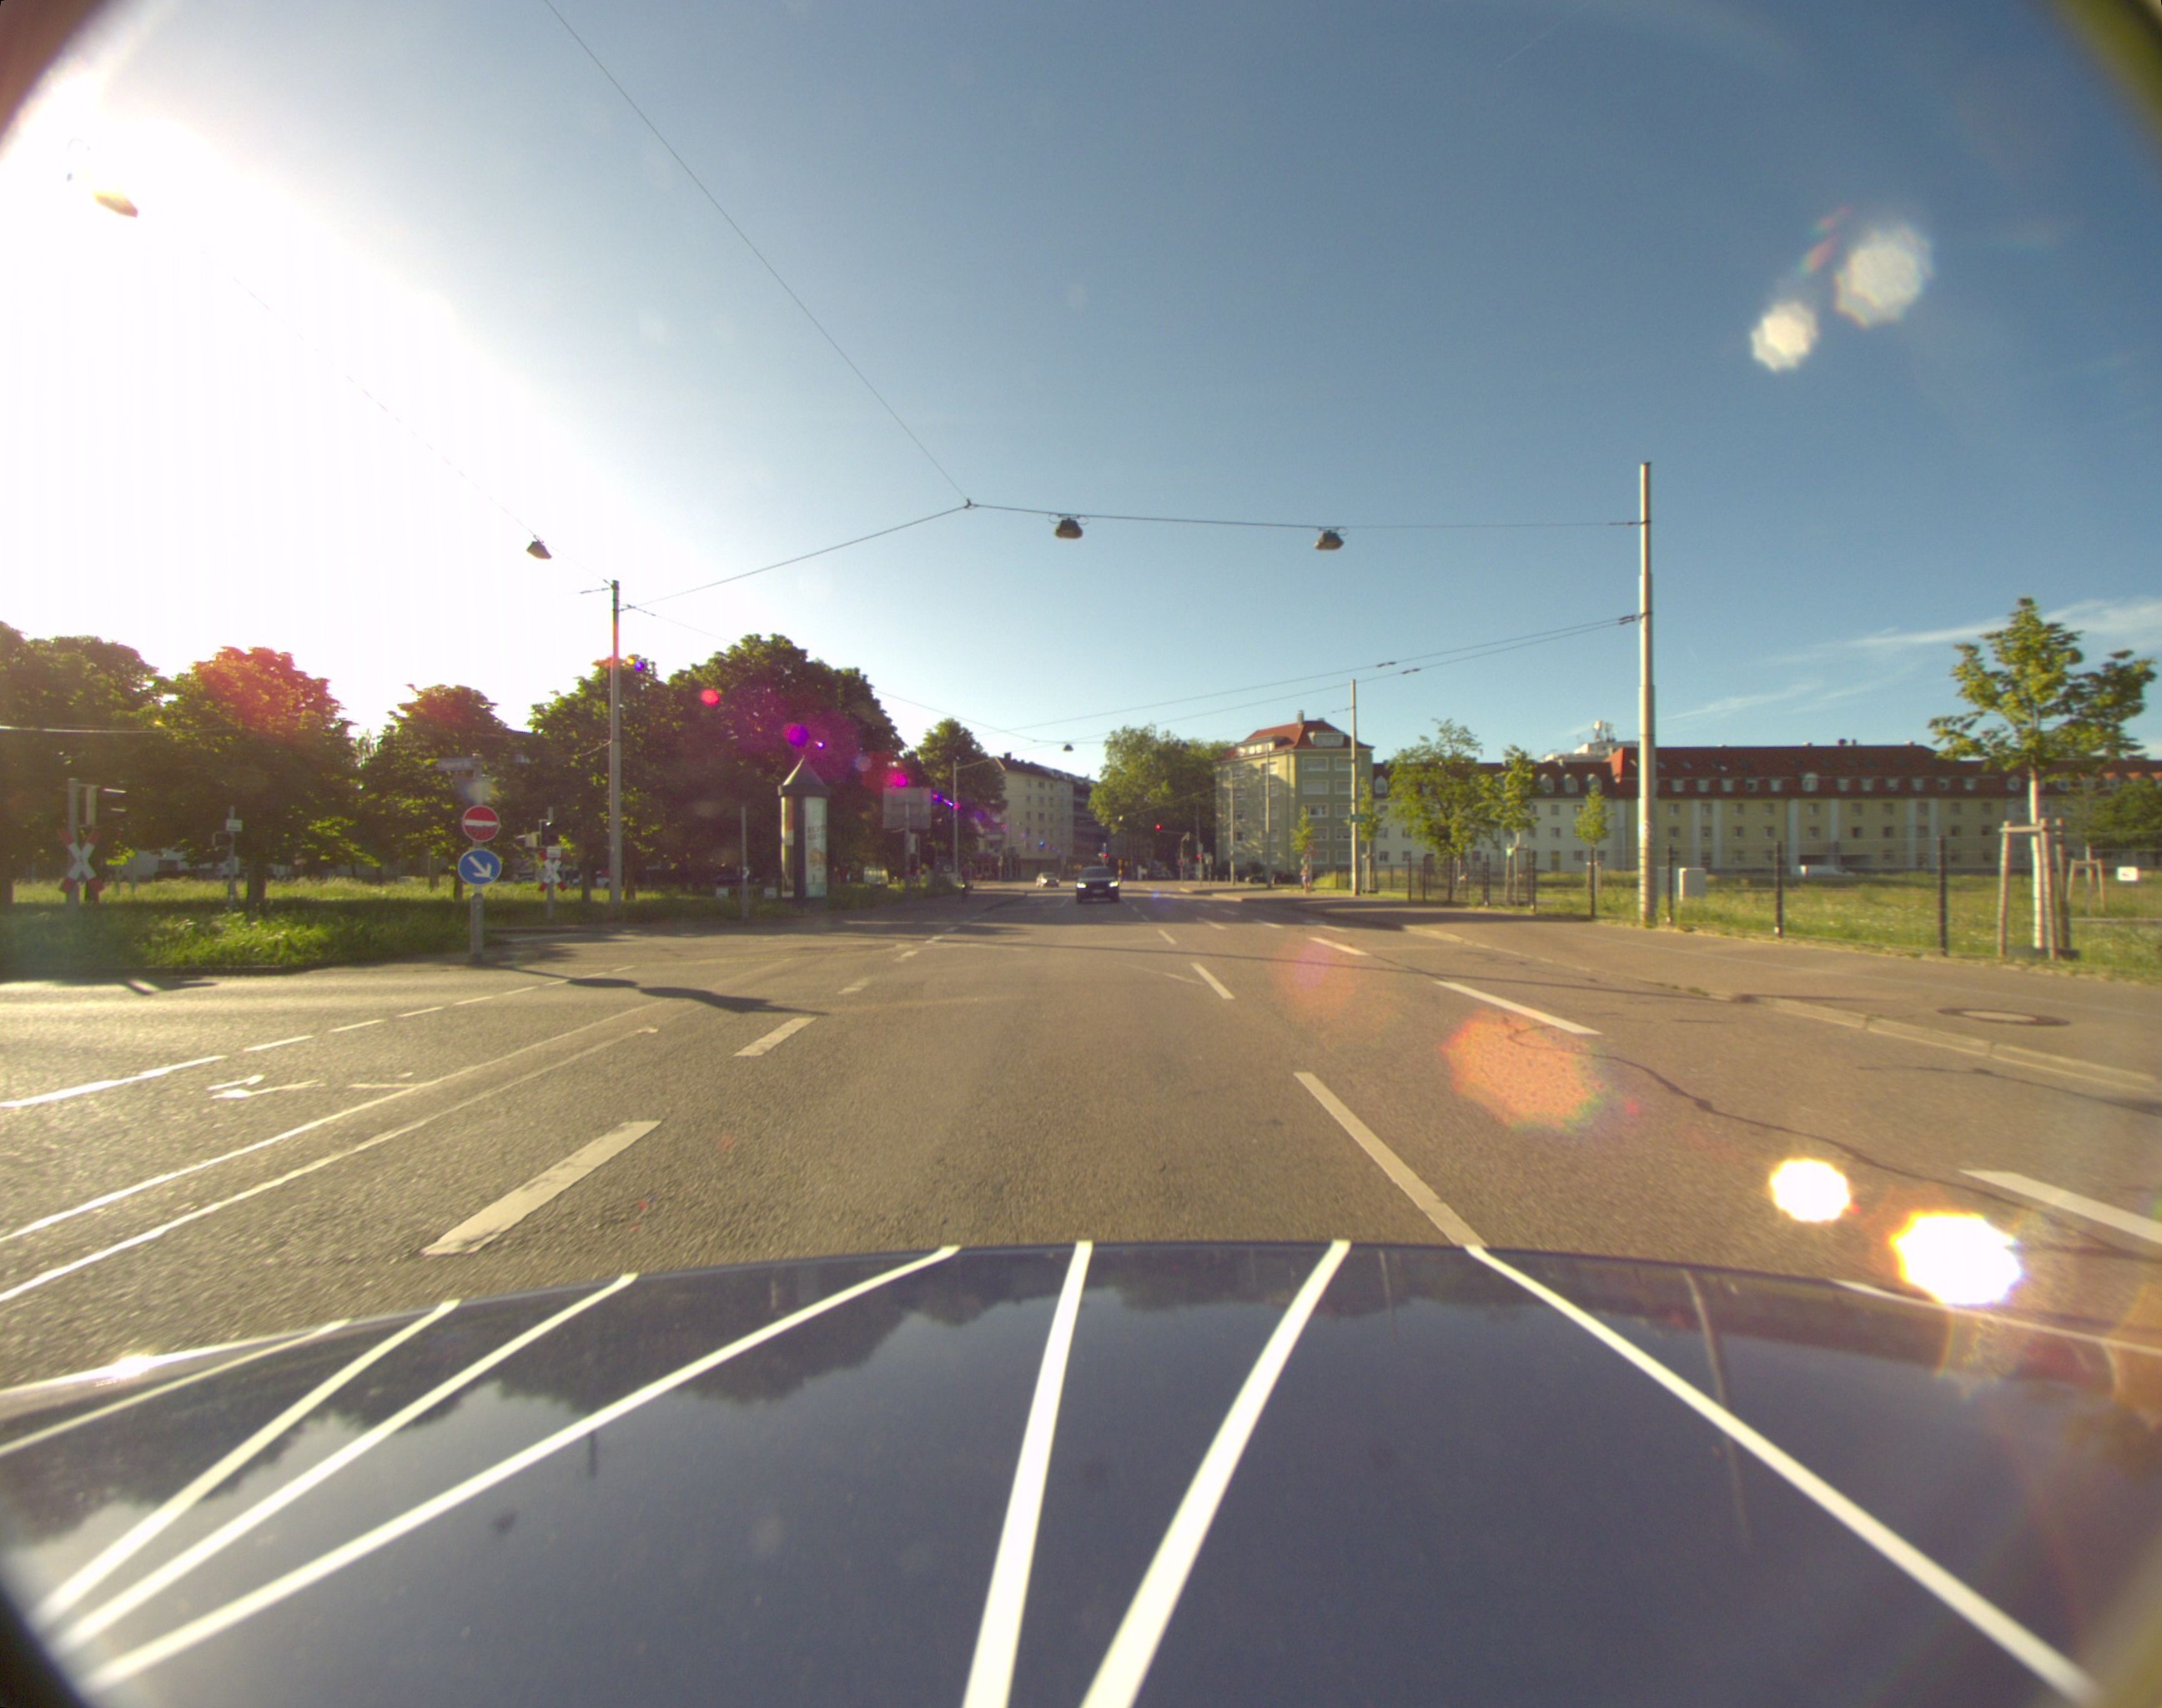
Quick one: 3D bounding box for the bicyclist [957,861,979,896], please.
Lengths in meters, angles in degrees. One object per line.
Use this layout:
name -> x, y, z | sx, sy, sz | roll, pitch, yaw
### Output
bicyclist -> -5.260, 1.140, 35.430 | 0.813, 1.590, 1.149 | 0, -1, 1

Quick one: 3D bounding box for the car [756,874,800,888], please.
car -> -34.902, 3.122, 87.465 | 4.194, 1.337, 1.994 | -3, 1, -45

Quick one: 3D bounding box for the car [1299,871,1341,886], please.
car -> 25.208, 2.628, 80.256 | 3.900, 1.520, 1.701 | 0, -4, -2

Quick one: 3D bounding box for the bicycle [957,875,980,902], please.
bicycle -> -5.233, 1.583, 35.357 | 0.720, 1.185, 2.001 | 0, -1, 1

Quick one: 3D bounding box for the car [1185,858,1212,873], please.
car -> 21.502, 2.140, 138.931 | 4.411, 2.611, 1.972 | -2, 1, 22

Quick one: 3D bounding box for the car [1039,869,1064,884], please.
car -> -2.961, 2.261, 76.045 | 1.704, 1.432, 3.642 | -1, -2, -16

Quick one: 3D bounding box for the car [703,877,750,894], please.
car -> -39.361, 3.467, 84.352 | 4.194, 1.707, 1.994 | -3, 1, -45

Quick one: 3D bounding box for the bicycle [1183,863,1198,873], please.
bicycle -> 15.673, 2.021, 109.072 | 2.047, 1.454, 0.727 | 1, 3, 30

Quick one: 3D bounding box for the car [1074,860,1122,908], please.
car -> 0.698, 1.309, 35.103 | 1.941, 1.922, 4.523 | -2, 0, -1

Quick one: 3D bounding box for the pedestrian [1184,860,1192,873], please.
pedestrian -> 15.561, 1.817, 110.588 | 0.695, 1.952, 0.929 | -2, 1, 31

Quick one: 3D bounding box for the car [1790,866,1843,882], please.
car -> 76.583, 2.110, 79.129 | 3.900, 1.520, 1.701 | 0, -4, -2

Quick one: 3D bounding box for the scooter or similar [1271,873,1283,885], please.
scooter or similar -> 19.509, 2.499, 75.671 | 0.594, 1.137, 1.270 | 0, -5, 42

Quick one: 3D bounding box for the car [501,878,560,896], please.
car -> -52.983, 3.127, 73.158 | 4.386, 1.419, 1.687 | -3, 1, -44

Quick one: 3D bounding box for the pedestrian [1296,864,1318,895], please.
pedestrian -> 12.053, 1.347, 40.590 | 0.834, 1.619, 1.181 | -2, -1, 4

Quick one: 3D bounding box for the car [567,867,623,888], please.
car -> -48.961, 2.347, 76.568 | 4.341, 1.953, 1.905 | -3, 1, -44

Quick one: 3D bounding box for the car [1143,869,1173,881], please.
car -> 11.728, 3.223, 115.774 | 4.140, 1.631, 1.777 | -2, 1, 22

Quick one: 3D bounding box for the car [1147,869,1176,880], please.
car -> 12.488, 3.191, 117.768 | 4.140, 1.631, 1.777 | -2, 1, 22

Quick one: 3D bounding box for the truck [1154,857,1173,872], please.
truck -> 19.017, 2.382, 174.407 | 2.339, 2.955, 8.042 | -2, 0, 20

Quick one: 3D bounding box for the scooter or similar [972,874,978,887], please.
scooter or similar -> -9.767, 2.444, 69.939 | 0.385, 1.210, 1.832 | 2, -3, -11

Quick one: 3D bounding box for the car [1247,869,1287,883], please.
car -> 21.373, 2.552, 87.550 | 4.204, 1.484, 1.943 | 0, -2, 2

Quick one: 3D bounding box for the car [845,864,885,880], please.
car -> -26.950, 2.261, 94.778 | 4.257, 1.846, 1.994 | -3, 1, -45
